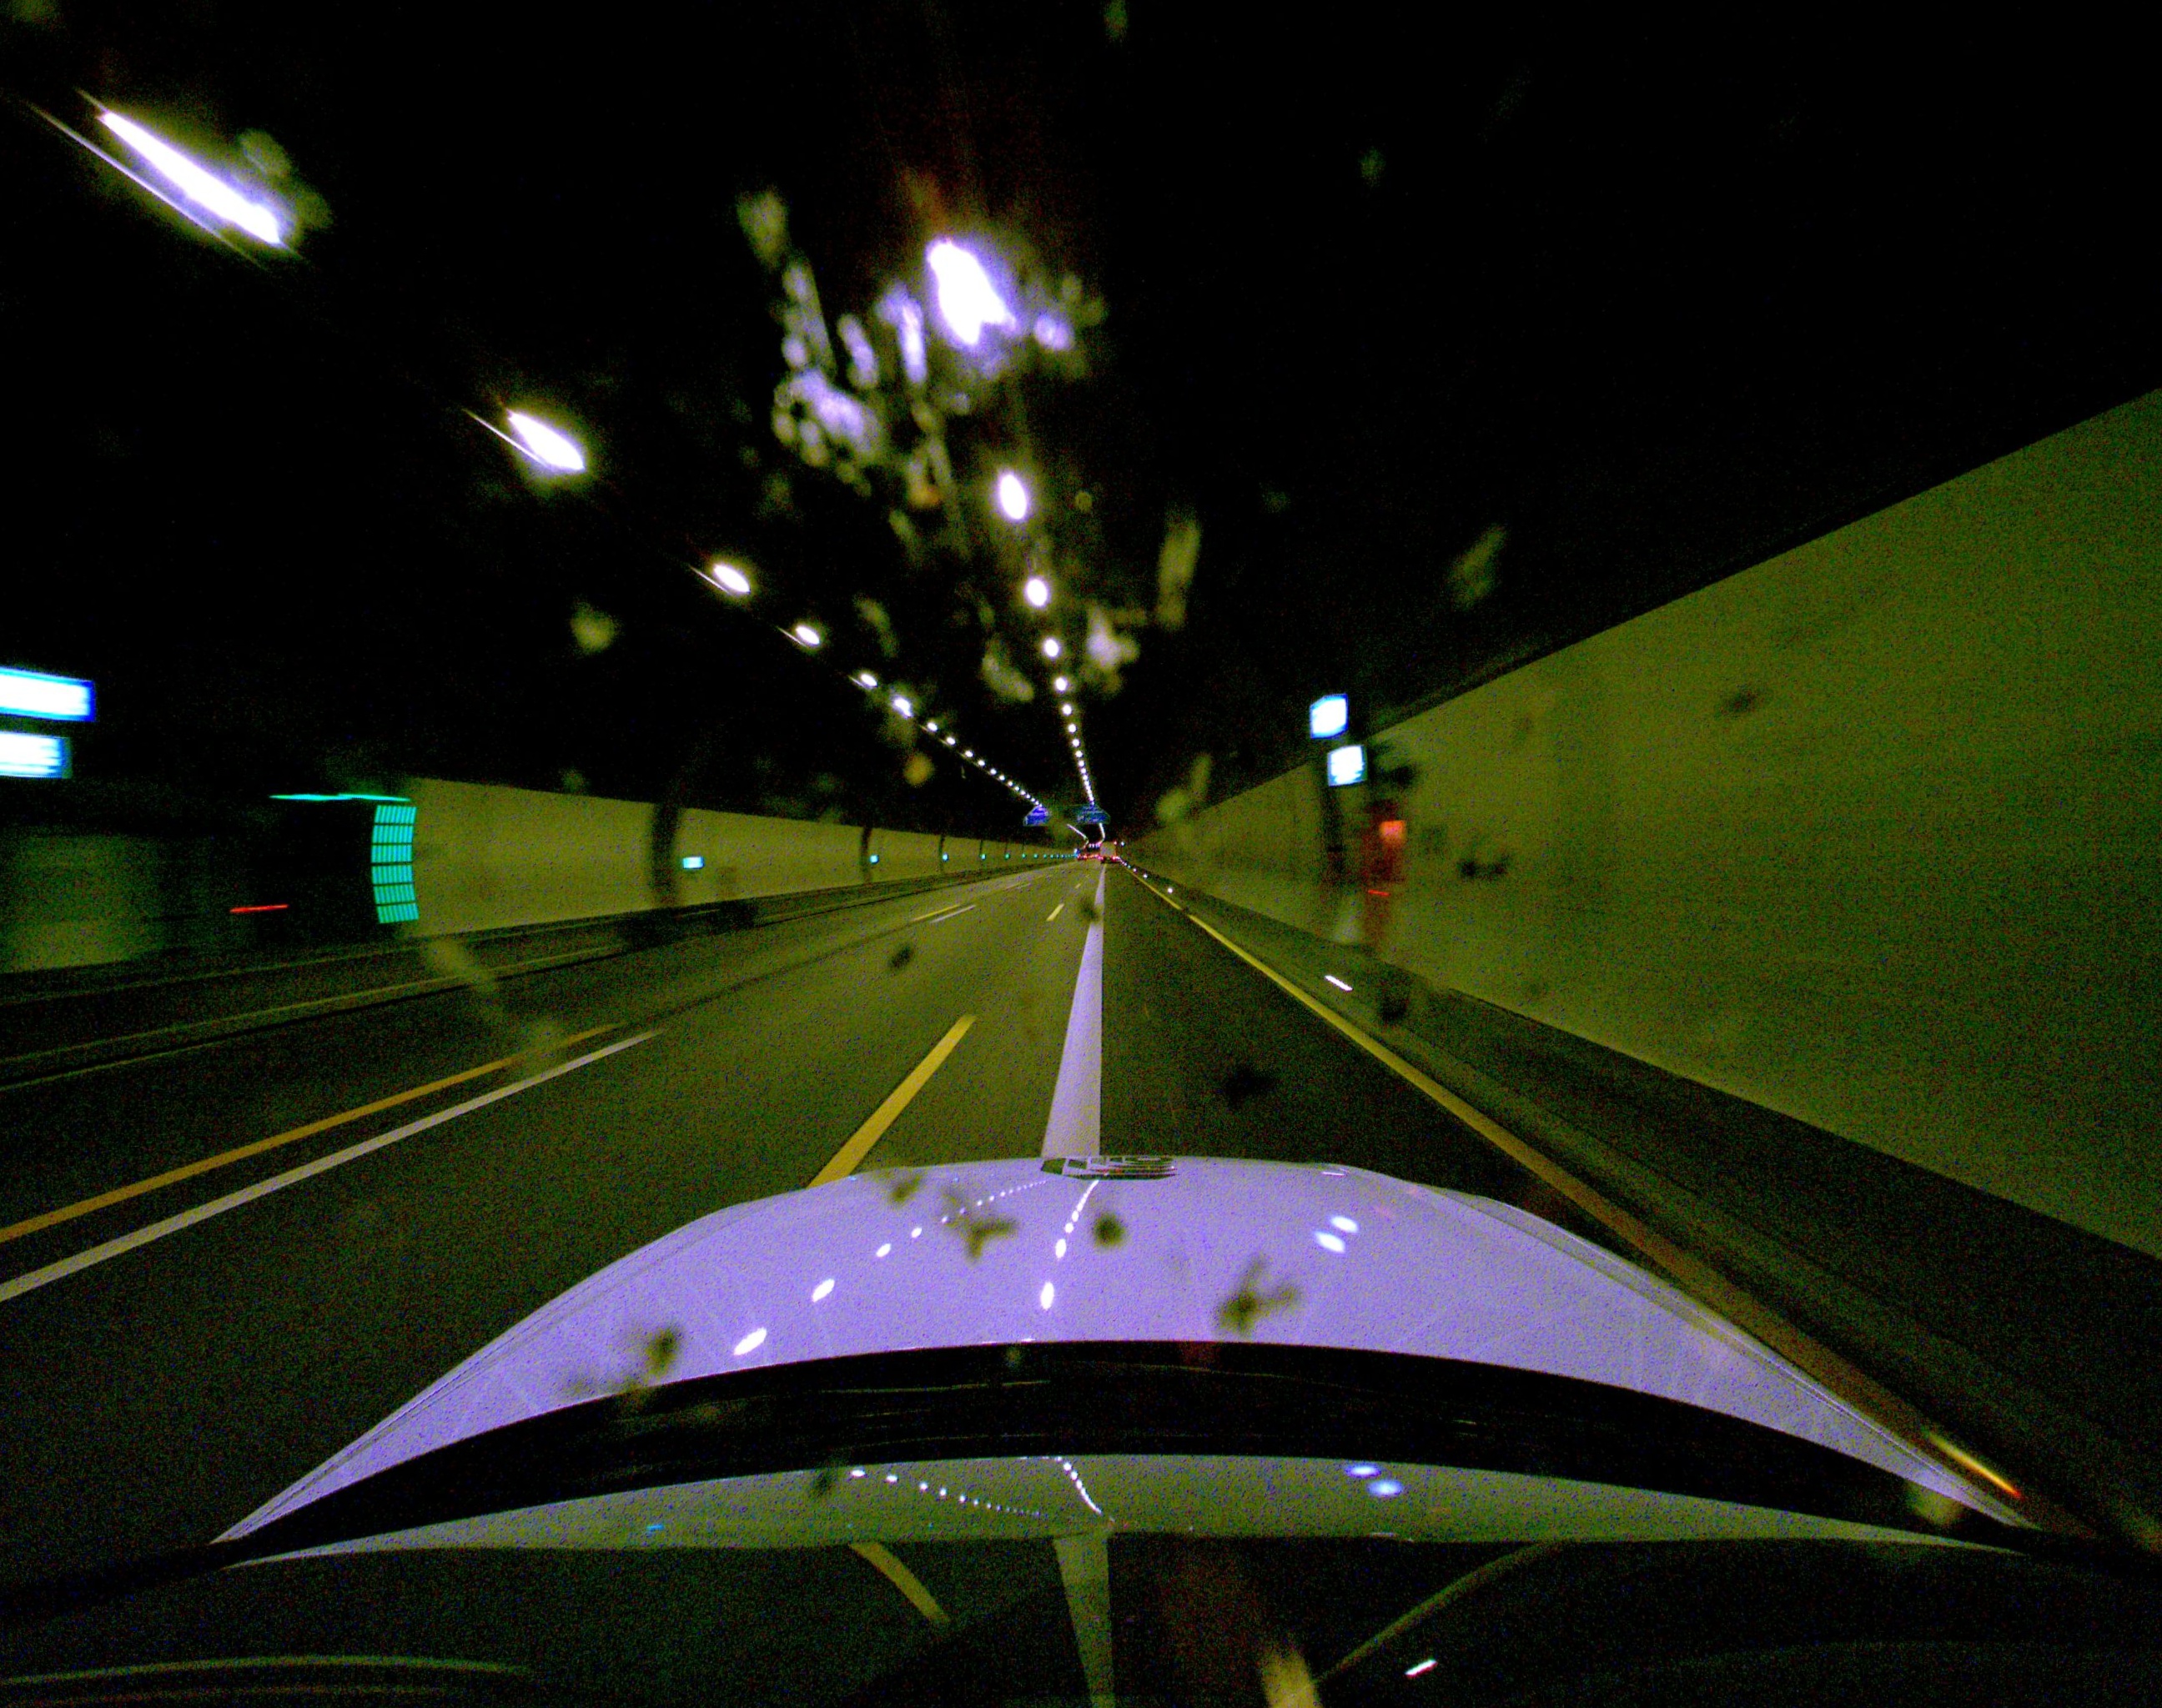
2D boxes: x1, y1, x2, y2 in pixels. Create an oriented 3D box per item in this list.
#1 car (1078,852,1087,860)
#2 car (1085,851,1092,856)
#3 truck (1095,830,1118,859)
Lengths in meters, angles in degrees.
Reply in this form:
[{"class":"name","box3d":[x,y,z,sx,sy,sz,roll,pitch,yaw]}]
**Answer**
[{"class":"car","box3d":[0.310,0.345,174.813,1.807,1.618,3.999,-1,1,-1]},{"class":"car","box3d":[2.008,-0.168,232.538,1.808,1.519,3.998,-1,2,-2]},{"class":"truck","box3d":[4.192,-1.550,139.699,3.268,4.650,17.284,-2,0,0]}]
